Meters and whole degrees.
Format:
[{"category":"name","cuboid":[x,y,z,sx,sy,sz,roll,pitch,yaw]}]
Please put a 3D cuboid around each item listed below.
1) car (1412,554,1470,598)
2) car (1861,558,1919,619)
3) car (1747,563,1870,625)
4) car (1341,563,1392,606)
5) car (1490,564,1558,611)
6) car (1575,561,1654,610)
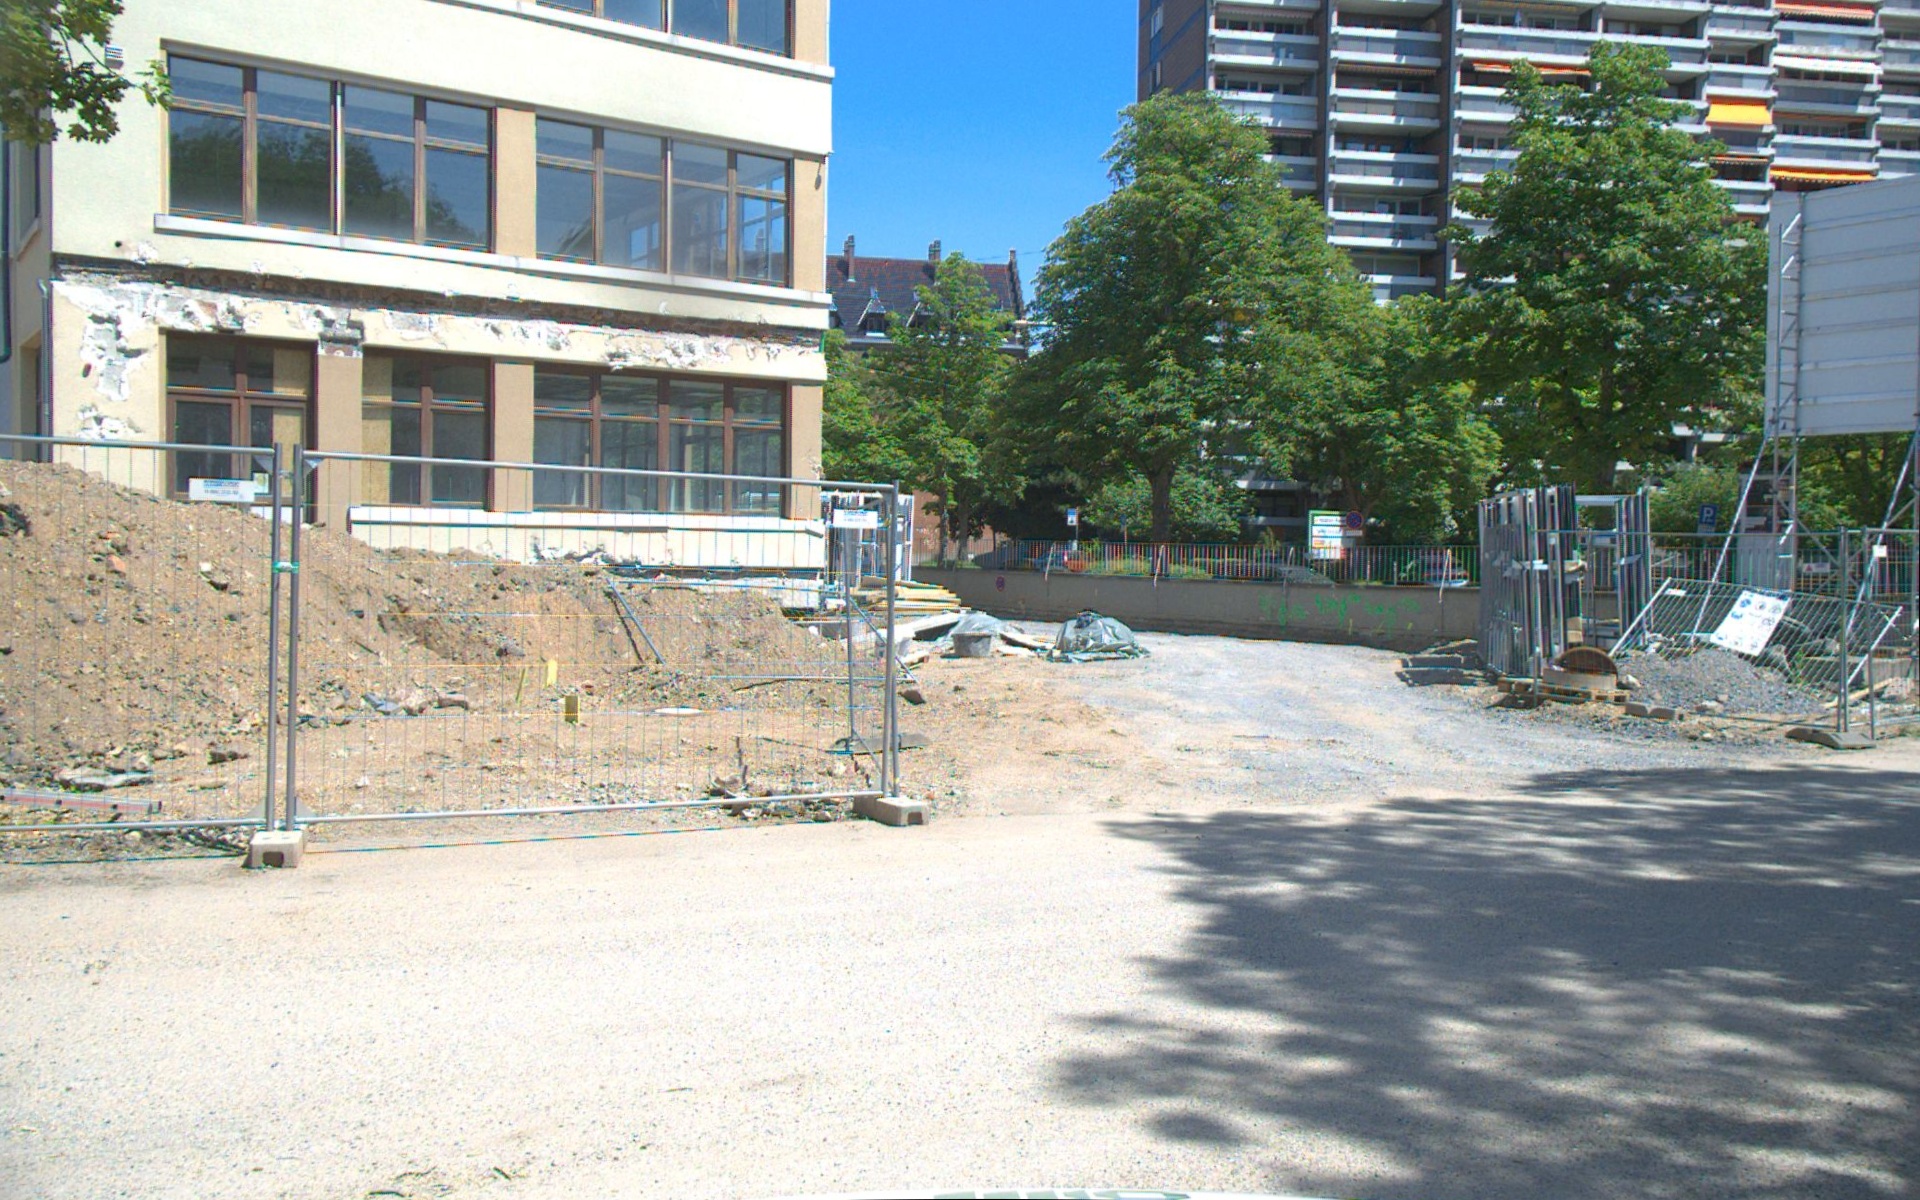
[{"category":"car","cuboid":[15.982,-0.814,55.092,1.598,1.411,3.681,1,1,12]},{"category":"car","cuboid":[24.173,-0.299,41.379,1.598,1.489,3.681,1,1,7]},{"category":"car","cuboid":[21.563,-0.181,42.157,1.598,1.489,3.681,1,1,7]},{"category":"car","cuboid":[13.867,-0.547,56.540,1.598,1.411,3.681,1,1,12]},{"category":"car","cuboid":[17.780,-0.435,52.261,1.598,1.411,3.681,1,1,12]},{"category":"car","cuboid":[19.494,-0.459,49.359,1.598,1.411,3.681,1,1,12]}]
